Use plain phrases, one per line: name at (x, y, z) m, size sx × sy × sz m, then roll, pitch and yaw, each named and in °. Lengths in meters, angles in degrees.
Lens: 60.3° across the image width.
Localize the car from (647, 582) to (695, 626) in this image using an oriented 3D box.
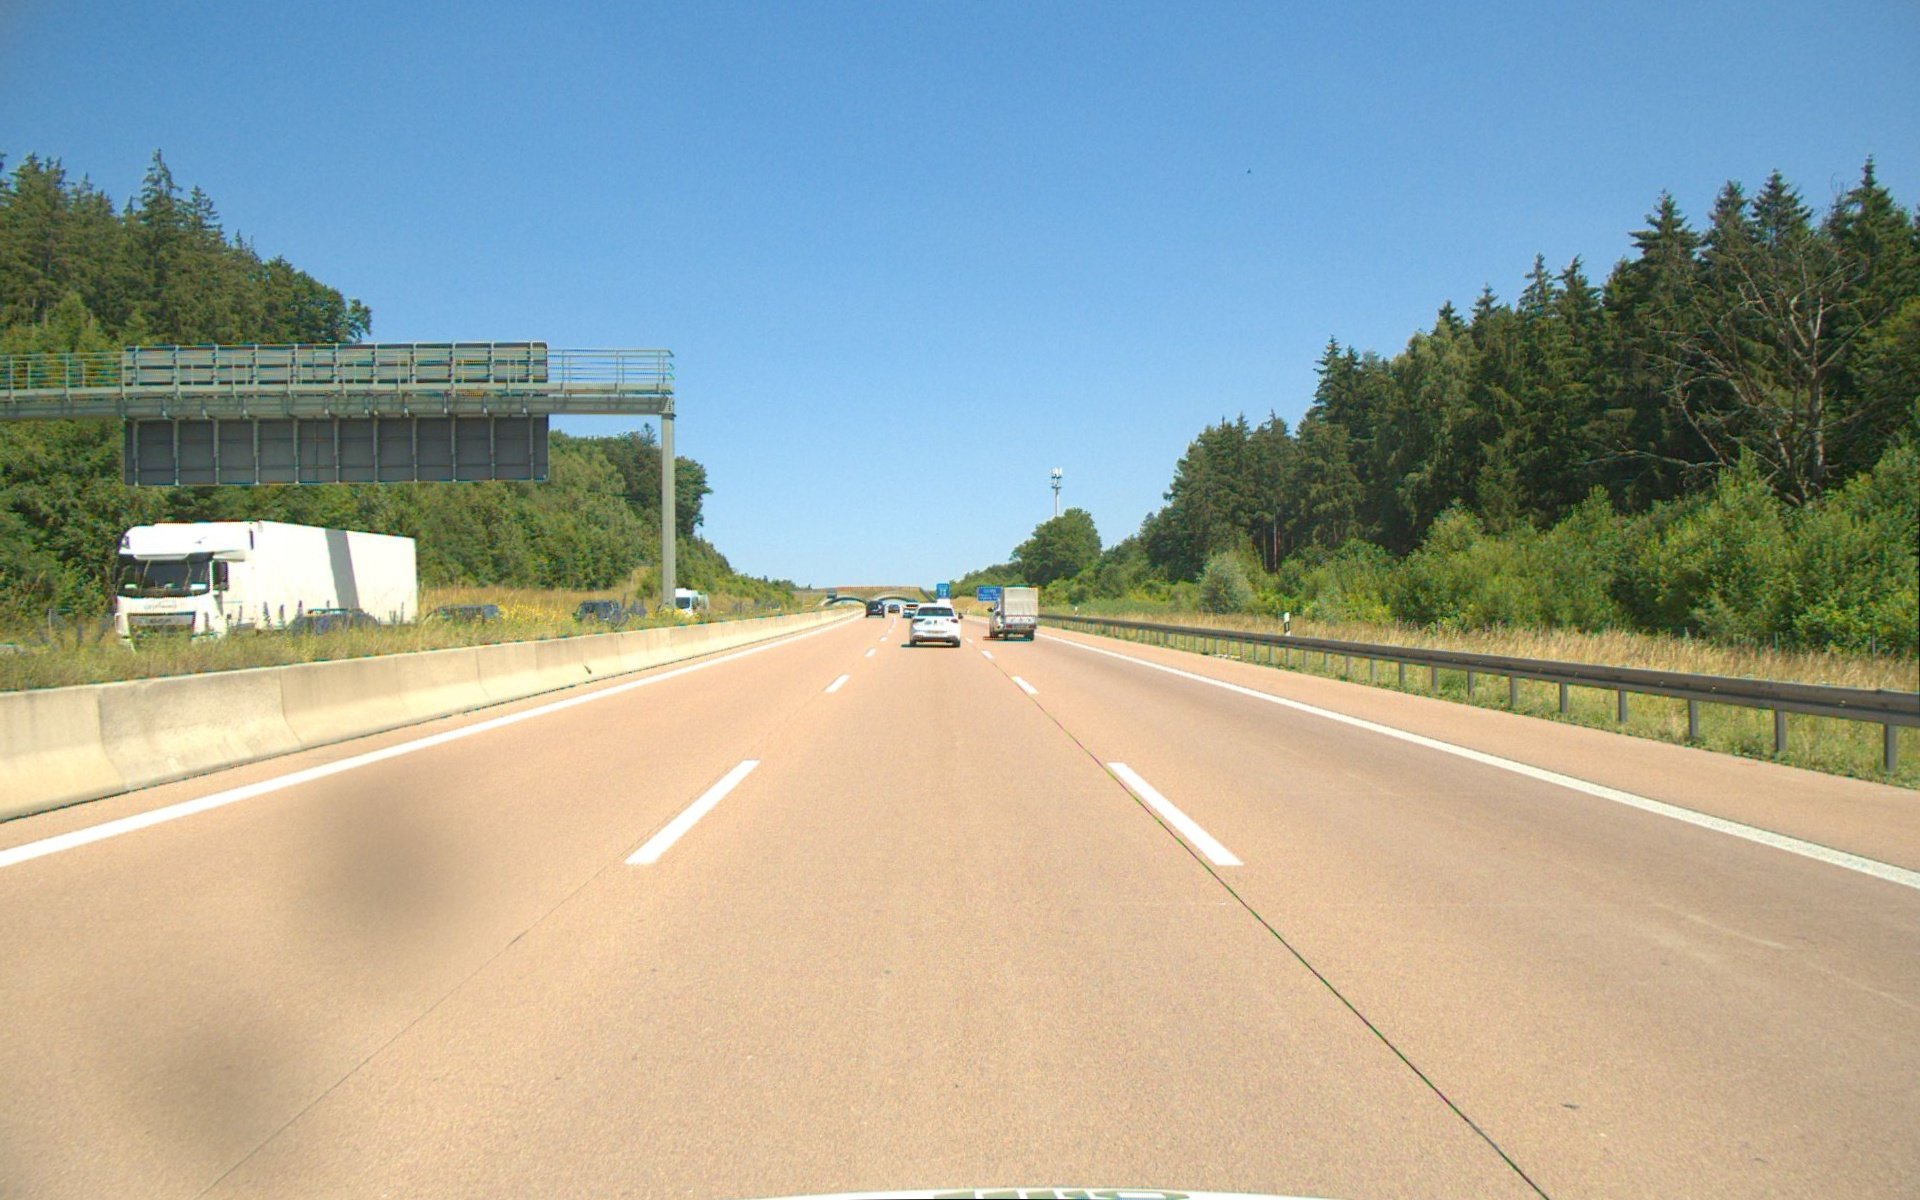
car at (-18.527, 0.237, 106.340) m, size 2.188 × 2.733 × 6.095 m, roll 0°, pitch 0°, yaw -2°

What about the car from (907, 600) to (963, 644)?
car at (-0.833, 0.725, 56.477) m, size 1.852 × 1.422 × 3.999 m, roll 0°, pitch 0°, yaw -1°

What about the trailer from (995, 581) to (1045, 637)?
trailer at (2.416, 0.373, 67.361) m, size 1.625 × 2.202 × 4.012 m, roll 0°, pitch -1°, yaw -4°

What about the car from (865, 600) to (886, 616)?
car at (-8.245, 0.741, 161.067) m, size 1.852 × 1.489 × 3.999 m, roll 0°, pitch 0°, yaw -1°

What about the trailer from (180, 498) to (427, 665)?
trailer at (-19.992, -0.514, 51.632) m, size 2.648 × 4.512 × 13.189 m, roll 0°, pitch 0°, yaw -1°

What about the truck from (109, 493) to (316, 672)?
truck at (-19.896, -0.441, 44.488) m, size 2.648 × 4.457 × 6.476 m, roll 0°, pitch 0°, yaw -1°

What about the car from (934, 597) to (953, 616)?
car at (-1.786, 0.733, 182.787) m, size 2.067 × 2.090 × 3.999 m, roll 0°, pitch 0°, yaw -1°

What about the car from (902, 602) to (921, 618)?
car at (-4.750, 1.003, 161.057) m, size 1.853 × 1.489 × 3.998 m, roll 1°, pitch 0°, yaw -2°

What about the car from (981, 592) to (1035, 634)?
car at (2.060, 0.562, 71.874) m, size 1.853 × 1.758 × 5.182 m, roll 0°, pitch 0°, yaw -4°

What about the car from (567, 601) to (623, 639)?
car at (-16.750, 0.900, 76.069) m, size 1.853 × 1.684 × 3.998 m, roll 0°, pitch 0°, yaw -2°
